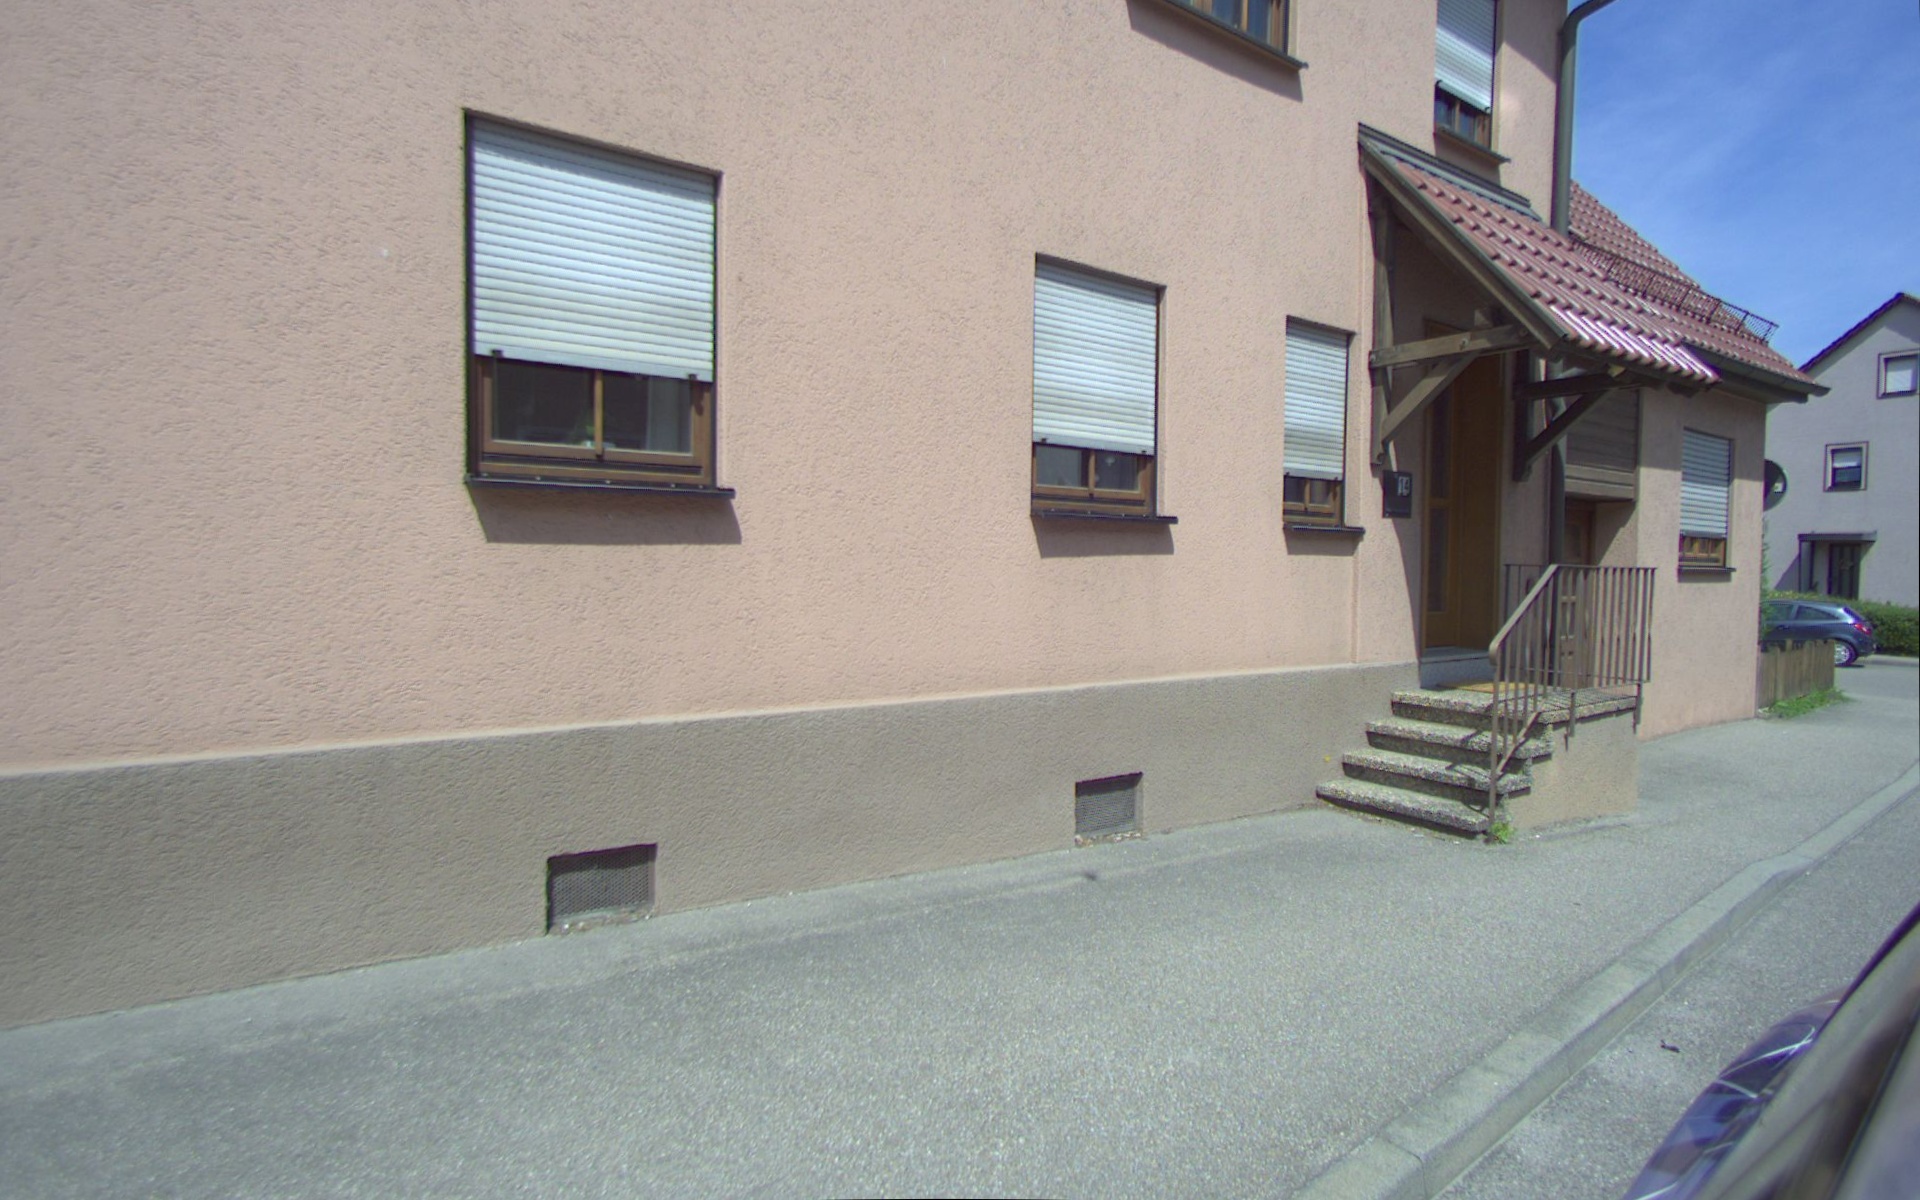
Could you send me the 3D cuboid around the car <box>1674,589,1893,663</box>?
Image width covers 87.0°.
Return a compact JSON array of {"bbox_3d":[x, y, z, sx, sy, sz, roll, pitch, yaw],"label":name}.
[{"bbox_3d":[19.369,0.543,23.904,1.859,1.506,3.807,0,2,-44],"label":"car"}]
